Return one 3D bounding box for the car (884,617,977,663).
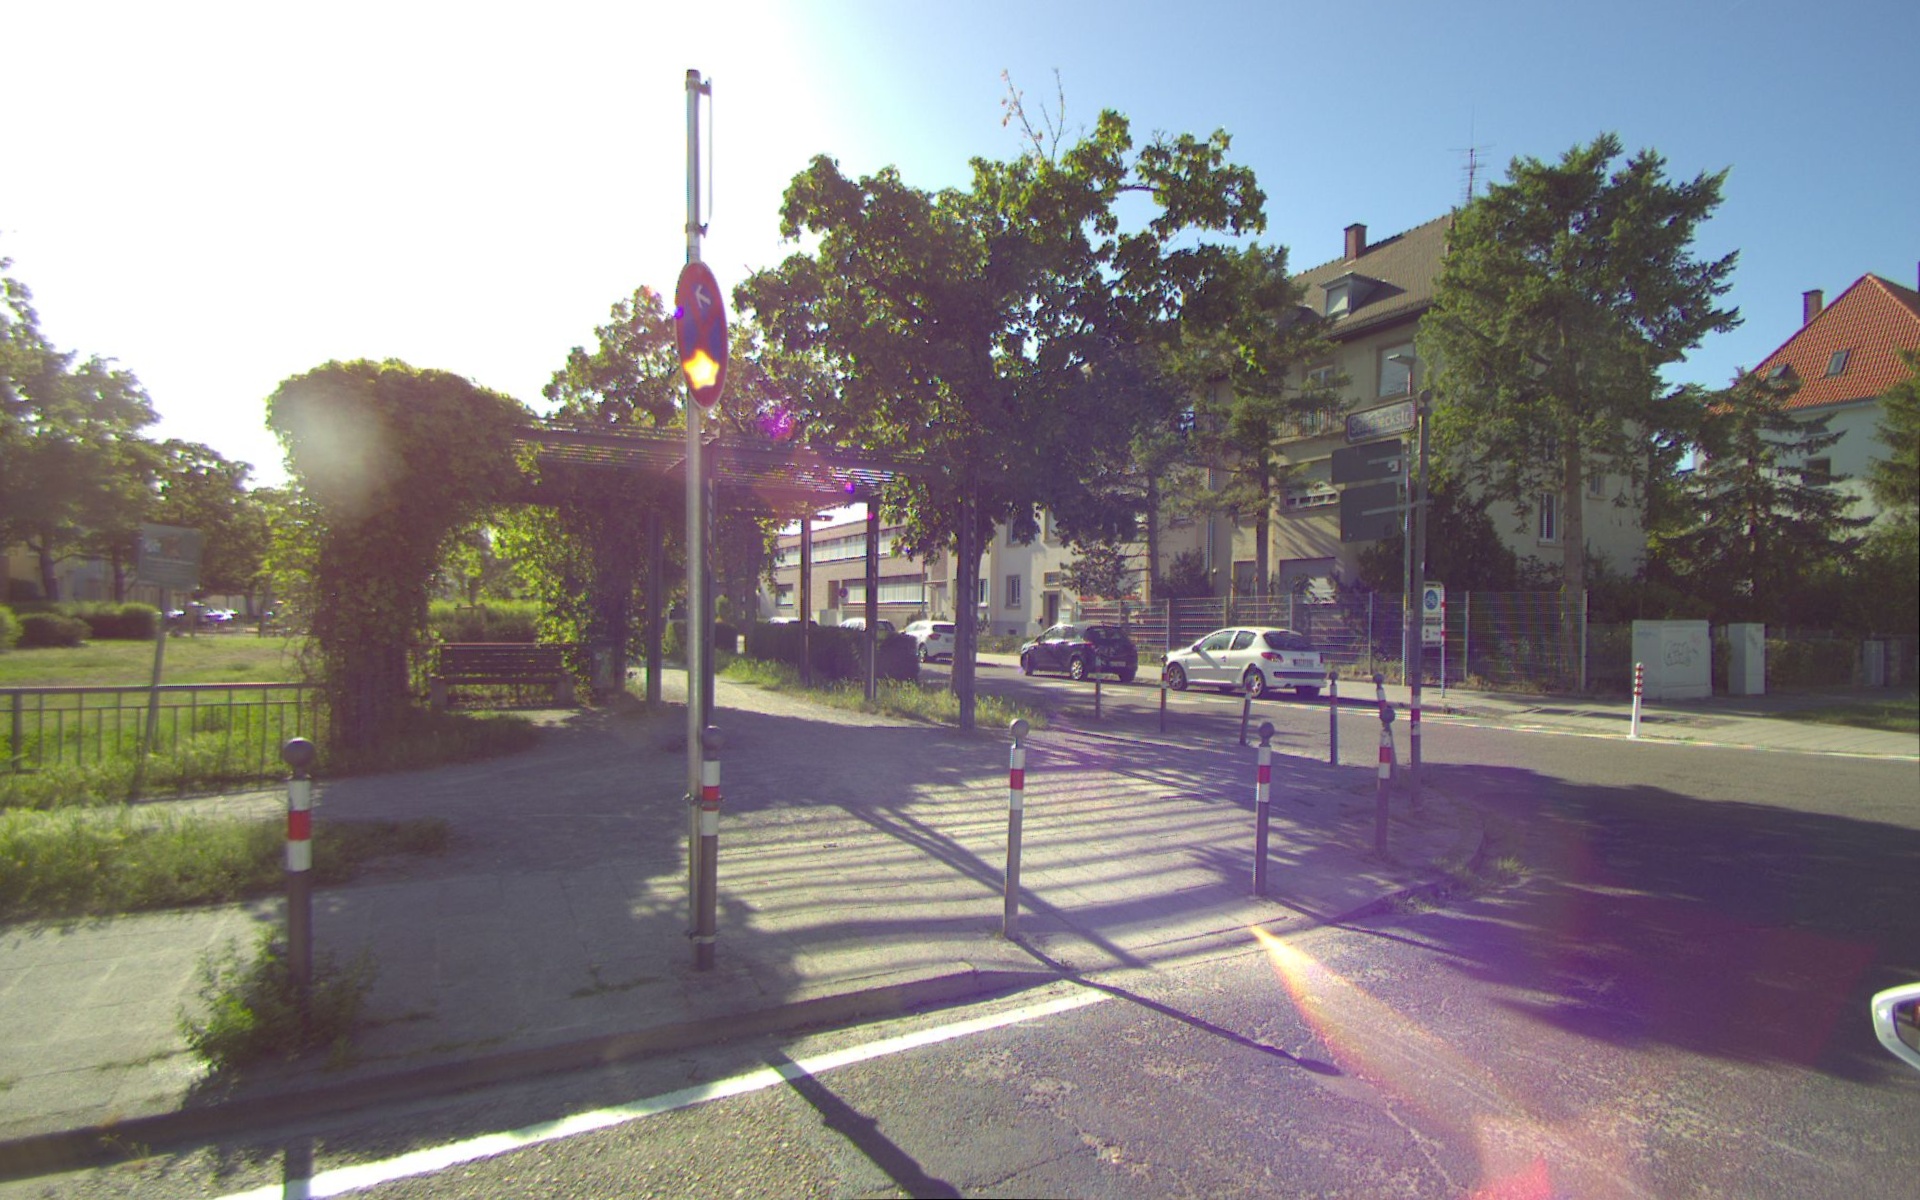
[{"bbox_3d":[-1.125,1.382,35.796,1.778,1.514,3.972,2,-2,-27],"label":"car"}]

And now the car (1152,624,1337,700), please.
[{"bbox_3d":[5.957,1.263,21.413,1.685,1.417,3.750,2,-2,-27],"label":"car"}]

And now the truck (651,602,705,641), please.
[{"bbox_3d":[-15.882,1.195,56.407,1.975,2.063,4.840,1,-1,-27],"label":"truck"}]

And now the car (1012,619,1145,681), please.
[{"bbox_3d":[3.051,1.287,26.607,1.655,1.514,3.800,2,-2,-27],"label":"car"}]

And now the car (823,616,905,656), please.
[{"bbox_3d":[-3.986,1.459,41.226,1.781,1.514,3.965,2,-2,-32],"label":"car"}]
